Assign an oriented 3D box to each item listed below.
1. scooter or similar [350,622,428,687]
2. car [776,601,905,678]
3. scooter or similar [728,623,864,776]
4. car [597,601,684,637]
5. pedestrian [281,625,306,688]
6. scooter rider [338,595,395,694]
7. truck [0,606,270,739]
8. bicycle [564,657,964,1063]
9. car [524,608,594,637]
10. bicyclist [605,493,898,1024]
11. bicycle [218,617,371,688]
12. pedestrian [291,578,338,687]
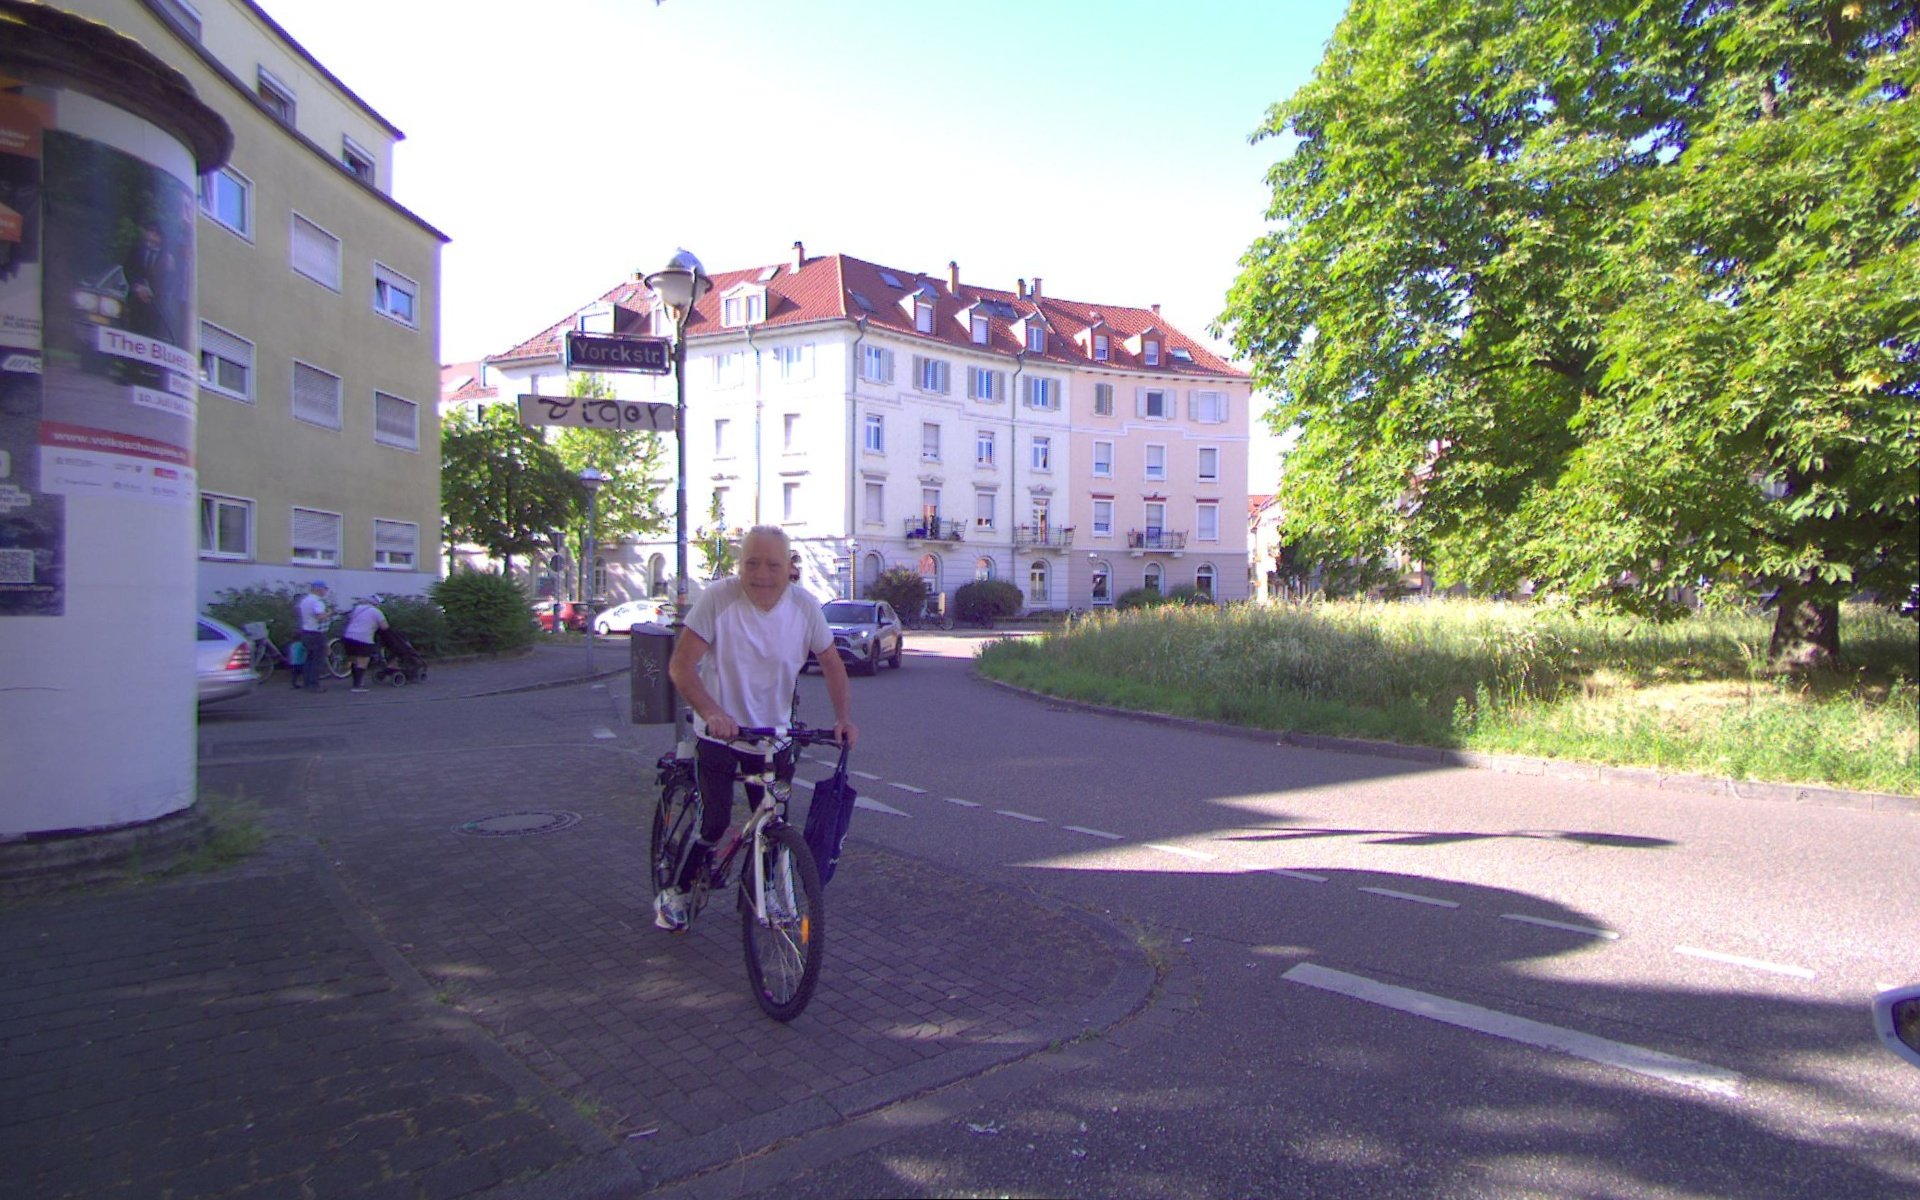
[{"bbox_3d":[-9.496,0.897,16.727,0.876,1.050,0.711,0,0,0],"label":"scooter or similar"},{"bbox_3d":[-2.652,0.840,23.334,1.959,1.628,4.129,0,0,9],"label":"car"},{"bbox_3d":[-1.688,0.916,10.038,0.558,1.328,2.104,0,0,-32],"label":"scooter or similar"},{"bbox_3d":[-13.660,0.803,42.965,3.337,1.485,1.488,0,0,19],"label":"car"},{"bbox_3d":[-10.473,0.879,15.778,0.265,0.982,0.191,0,0,-5],"label":"pedestrian"},{"bbox_3d":[-9.441,0.697,15.997,0.595,1.549,0.525,0,0,0],"label":"scooter rider"},{"bbox_3d":[-10.423,0.805,12.100,3.385,1.455,1.517,0,0,-40],"label":"truck"},{"bbox_3d":[-0.889,0.865,4.070,0.660,1.159,1.939,0,0,-43],"label":"bicycle"},{"bbox_3d":[-17.715,0.986,44.328,2.787,1.261,1.216,0,0,21],"label":"car"},{"bbox_3d":[-0.837,0.542,4.015,0.876,1.808,0.794,1,0,44],"label":"bicyclist"},{"bbox_3d":[-11.090,0.837,16.825,0.481,1.087,2.136,0,0,31],"label":"bicycle"},{"bbox_3d":[-10.021,0.499,15.607,0.409,1.664,0.534,0,0,-5],"label":"pedestrian"}]
